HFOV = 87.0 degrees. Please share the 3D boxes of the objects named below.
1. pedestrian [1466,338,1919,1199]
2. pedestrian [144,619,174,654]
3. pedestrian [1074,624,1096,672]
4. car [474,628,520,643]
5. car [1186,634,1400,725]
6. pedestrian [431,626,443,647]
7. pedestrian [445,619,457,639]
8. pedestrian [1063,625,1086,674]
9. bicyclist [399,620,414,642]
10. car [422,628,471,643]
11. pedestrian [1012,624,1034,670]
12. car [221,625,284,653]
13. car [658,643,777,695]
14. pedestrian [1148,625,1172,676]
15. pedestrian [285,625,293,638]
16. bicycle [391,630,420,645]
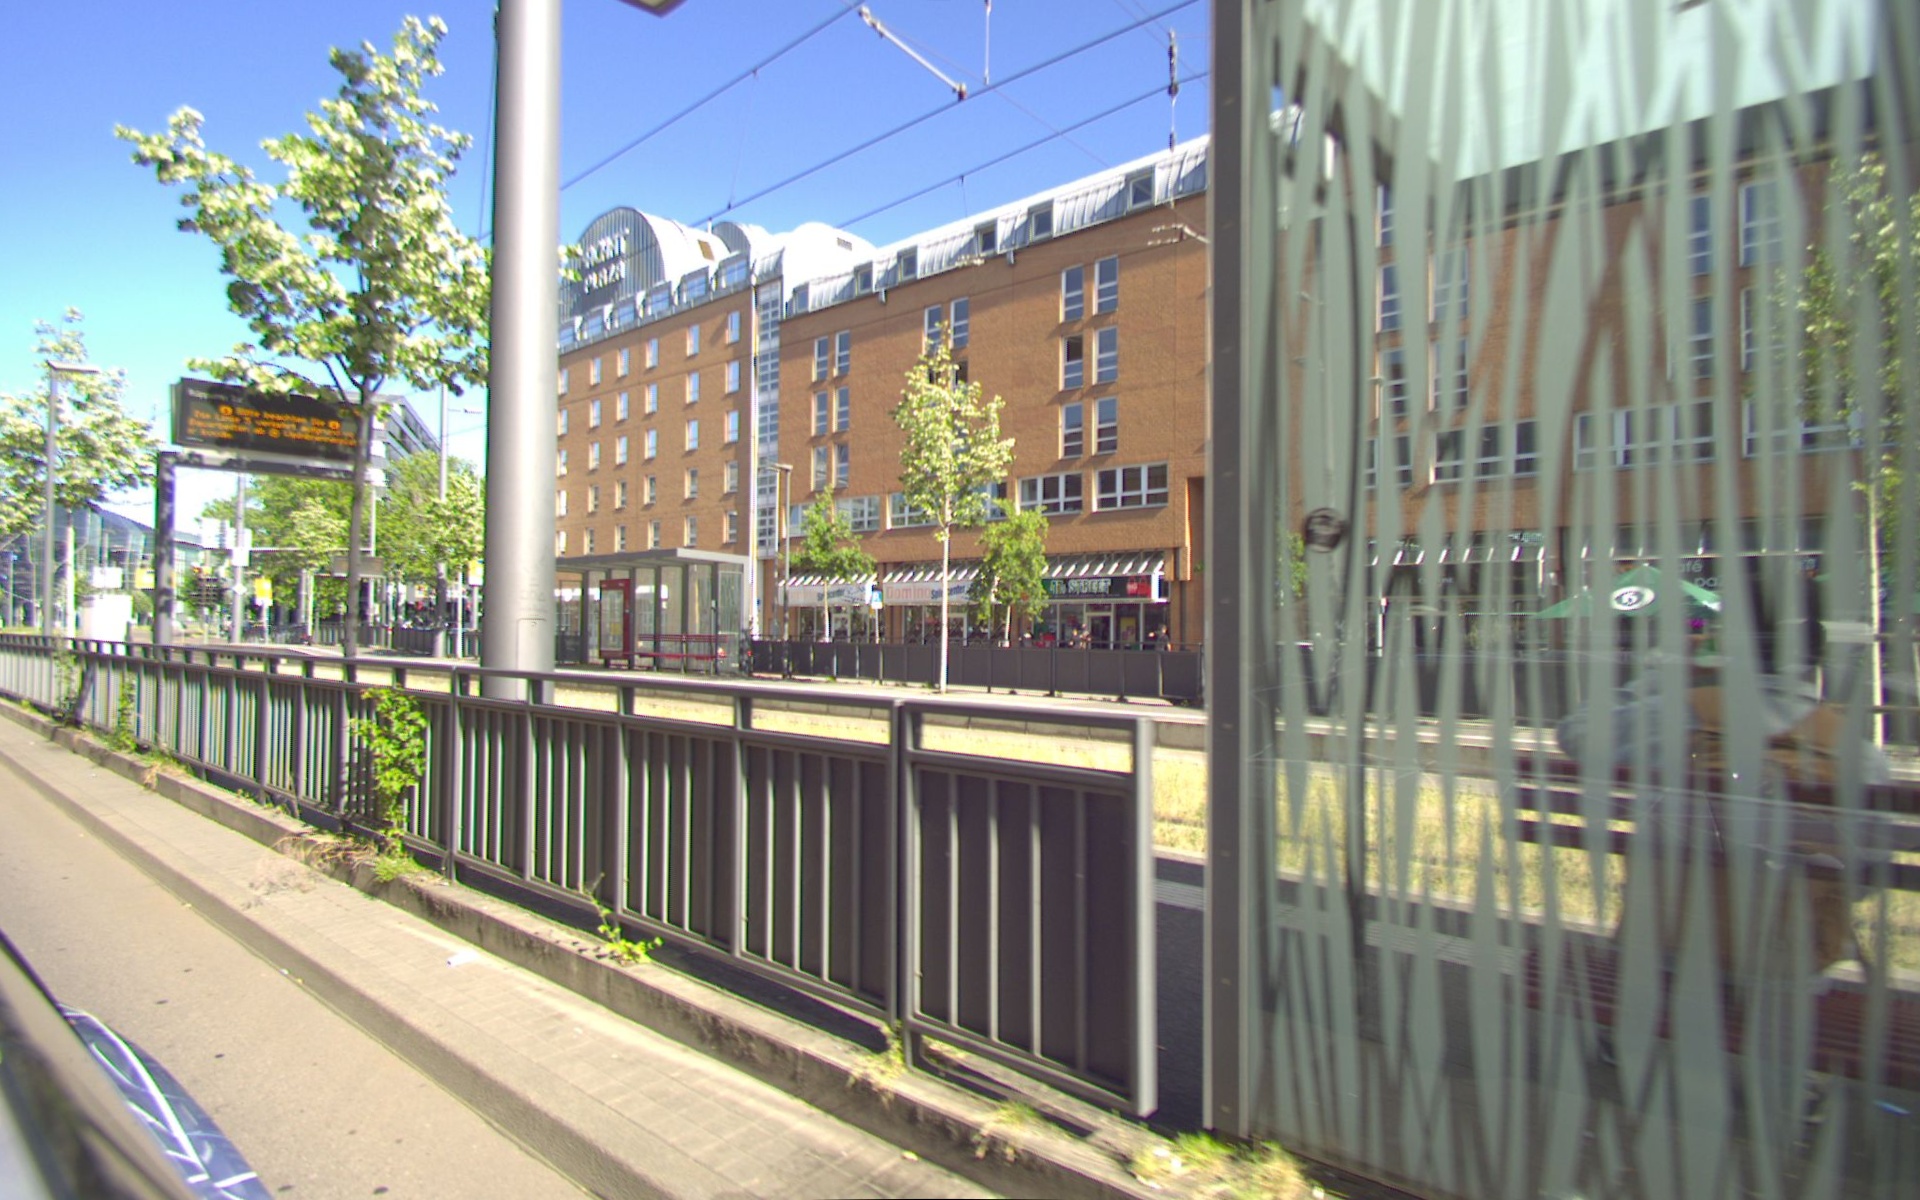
[{"bbox_3d":[1.572,0.379,2.030,0.798,1.548,0.804,-2,-3,42],"label":"pedestrian"},{"bbox_3d":[-39.021,1.768,49.325,1.006,1.702,0.947,-1,-3,42],"label":"pedestrian"},{"bbox_3d":[4.982,1.901,40.229,0.644,1.854,0.614,-1,-3,39],"label":"pedestrian"},{"bbox_3d":[-49.099,3.759,107.379,1.910,1.519,3.943,-1,-3,43],"label":"car"},{"bbox_3d":[7.212,1.646,22.106,3.998,1.696,1.973,0,0,41],"label":"car"},{"bbox_3d":[-42.412,2.949,82.122,0.728,1.719,0.637,-1,-3,45],"label":"pedestrian"},{"bbox_3d":[-42.107,2.394,83.732,0.728,1.622,0.637,-1,-3,45],"label":"pedestrian"},{"bbox_3d":[4.382,1.886,38.782,0.644,1.854,0.614,-1,-3,39],"label":"pedestrian"},{"bbox_3d":[-42.265,2.369,77.249,0.836,1.652,0.780,2,-3,-40],"label":"bicyclist"},{"bbox_3d":[-52.608,3.677,103.770,1.910,1.519,4.114,-1,-3,43],"label":"car"},{"bbox_3d":[2.573,1.930,41.279,0.644,1.854,0.614,-1,-3,39],"label":"pedestrian"},{"bbox_3d":[-39.436,2.162,56.374,4.287,1.510,1.911,-1,-3,42],"label":"car"},{"bbox_3d":[-8.066,2.224,33.556,3.997,1.475,1.859,0,0,40],"label":"car"},{"bbox_3d":[7.350,1.865,37.203,0.644,1.854,0.614,-1,-3,41],"label":"pedestrian"},{"bbox_3d":[-71.104,3.320,107.184,0.653,1.408,0.673,2,-2,-37],"label":"pedestrian"},{"bbox_3d":[-42.283,2.857,77.195,1.812,1.108,0.639,2,-3,-41],"label":"bicycle"}]
